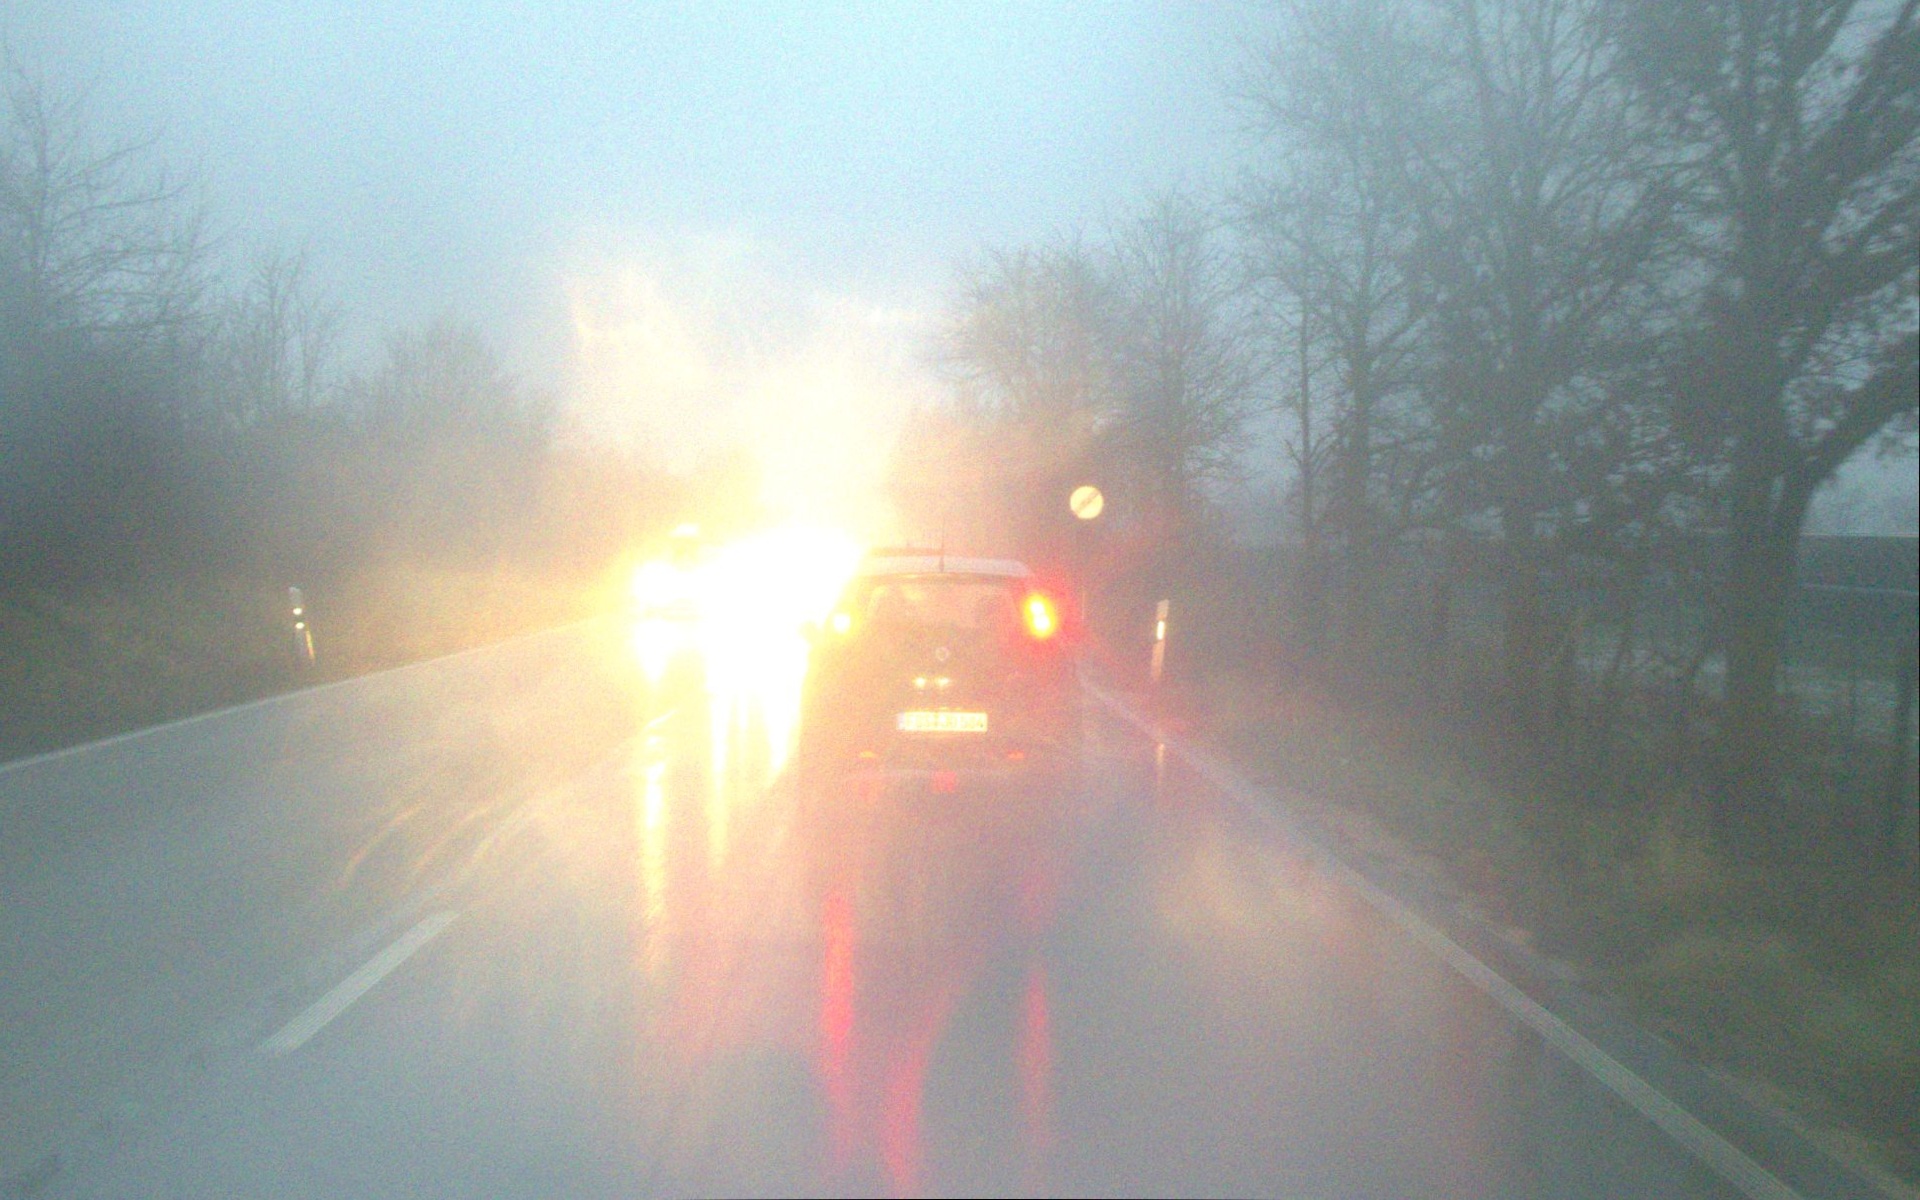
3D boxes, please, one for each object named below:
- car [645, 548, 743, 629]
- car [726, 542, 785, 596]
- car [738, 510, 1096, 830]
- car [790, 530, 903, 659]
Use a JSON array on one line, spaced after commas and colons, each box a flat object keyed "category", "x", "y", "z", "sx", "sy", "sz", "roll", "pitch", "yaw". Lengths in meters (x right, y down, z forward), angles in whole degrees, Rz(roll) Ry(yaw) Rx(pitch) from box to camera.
[{"category": "car", "x": -5.316, "y": -0.249, "z": 69.120, "sx": 1.691, "sy": 1.525, "sz": 4.086, "roll": 1, "pitch": 1, "yaw": -1}, {"category": "car", "x": -6.378, "y": -0.968, "z": 106.952, "sx": 1.752, "sy": 1.641, "sz": 4.050, "roll": 1, "pitch": 1, "yaw": -4}, {"category": "car", "x": -0.249, "y": 0.374, "z": 21.590, "sx": 1.993, "sy": 1.778, "sz": 4.000, "roll": 1, "pitch": 1, "yaw": 0}, {"category": "car", "x": -1.708, "y": -0.105, "z": 52.623, "sx": 1.574, "sy": 1.868, "sz": 3.709, "roll": 1, "pitch": 1, "yaw": 0}]
